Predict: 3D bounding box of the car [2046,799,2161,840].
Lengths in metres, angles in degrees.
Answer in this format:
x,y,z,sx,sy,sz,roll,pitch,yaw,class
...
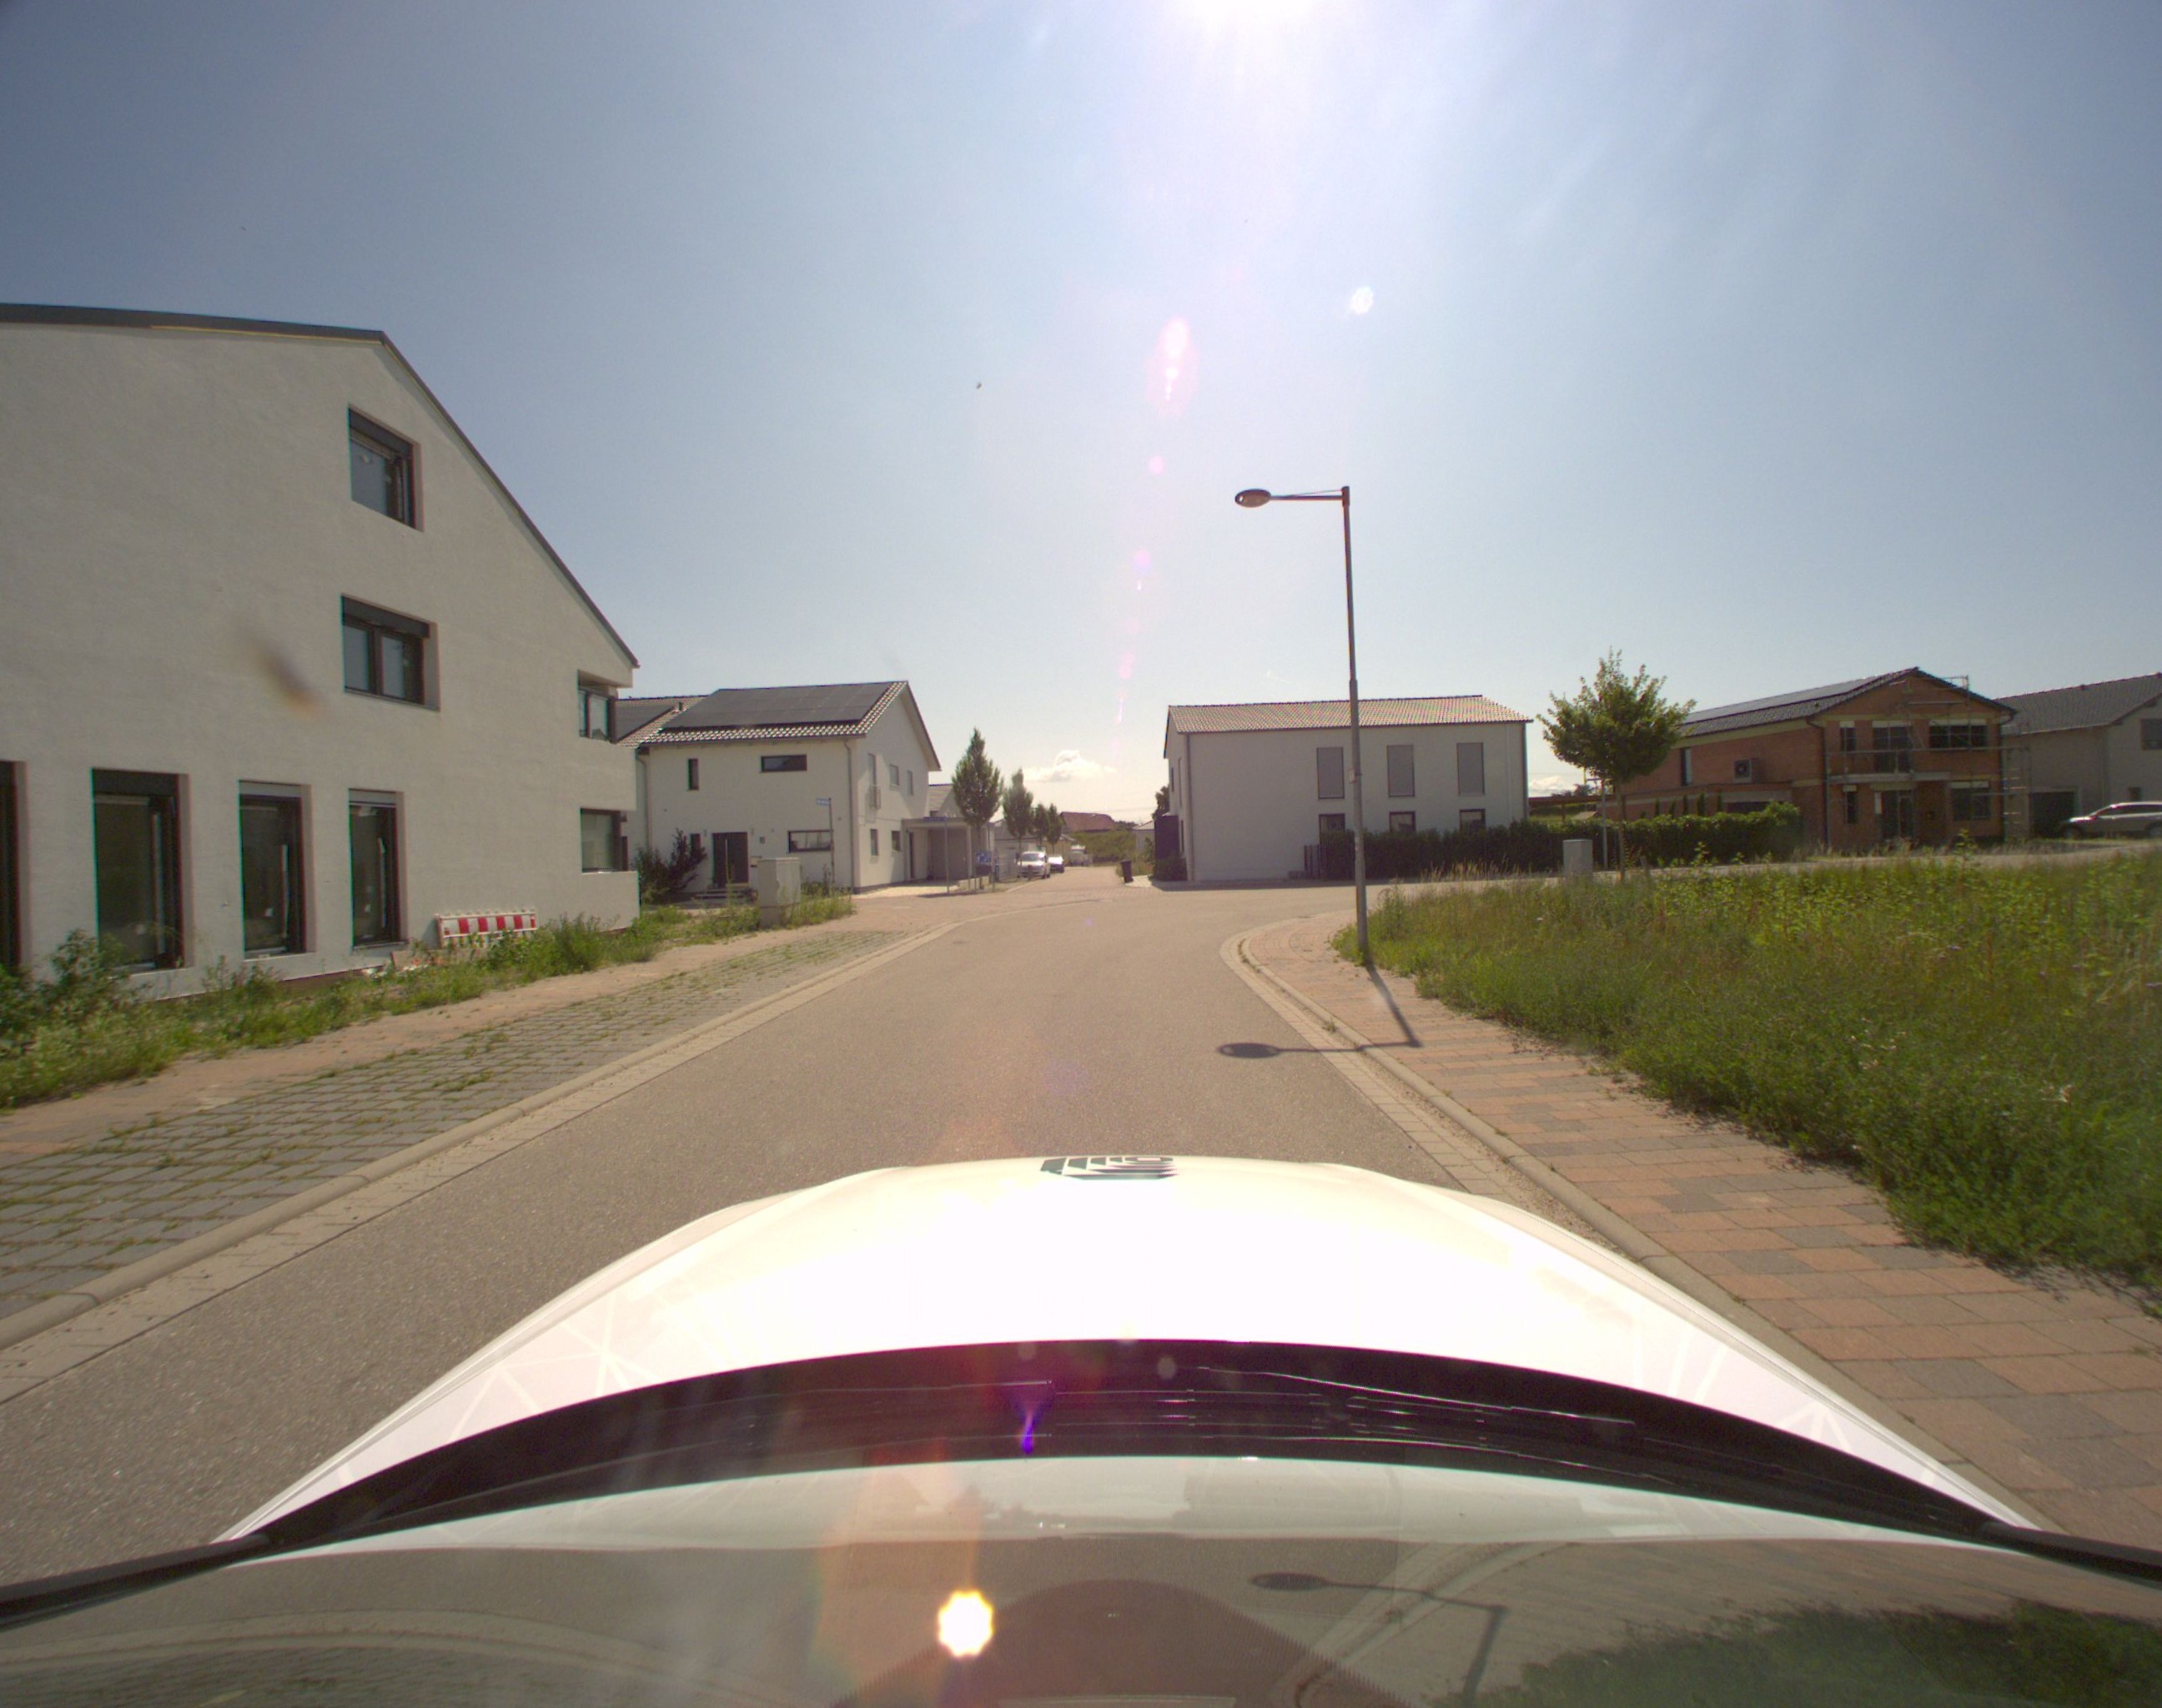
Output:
x,y,z,sx,sy,sz,roll,pitch,yaw,class
45.673,-1.522,35.365,1.993,1.612,4.425,-3,0,-9,car

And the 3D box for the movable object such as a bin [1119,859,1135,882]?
x,y,z,sx,sy,sz,roll,pitch,yaw,class
1.984,0.715,35.205,0.597,0.949,0.501,-3,0,2,movable object such as a bin

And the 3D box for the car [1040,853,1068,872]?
x,y,z,sx,sy,sz,roll,pitch,yaw,class
-2.344,0.745,71.684,1.985,1.614,4.488,0,-1,3,car

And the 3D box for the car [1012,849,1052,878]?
x,y,z,sx,sy,sz,roll,pitch,yaw,class
-3.074,0.599,52.119,1.985,1.790,4.651,0,-1,3,car

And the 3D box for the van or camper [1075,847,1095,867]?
x,y,z,sx,sy,sz,roll,pitch,yaw,class
0.524,0.332,100.296,2.254,2.411,4.848,0,-1,3,van or camper

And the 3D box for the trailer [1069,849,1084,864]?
x,y,z,sx,sy,sz,roll,pitch,yaw,class
-0.494,0.309,92.950,1.620,1.614,2.563,0,-1,3,trailer
